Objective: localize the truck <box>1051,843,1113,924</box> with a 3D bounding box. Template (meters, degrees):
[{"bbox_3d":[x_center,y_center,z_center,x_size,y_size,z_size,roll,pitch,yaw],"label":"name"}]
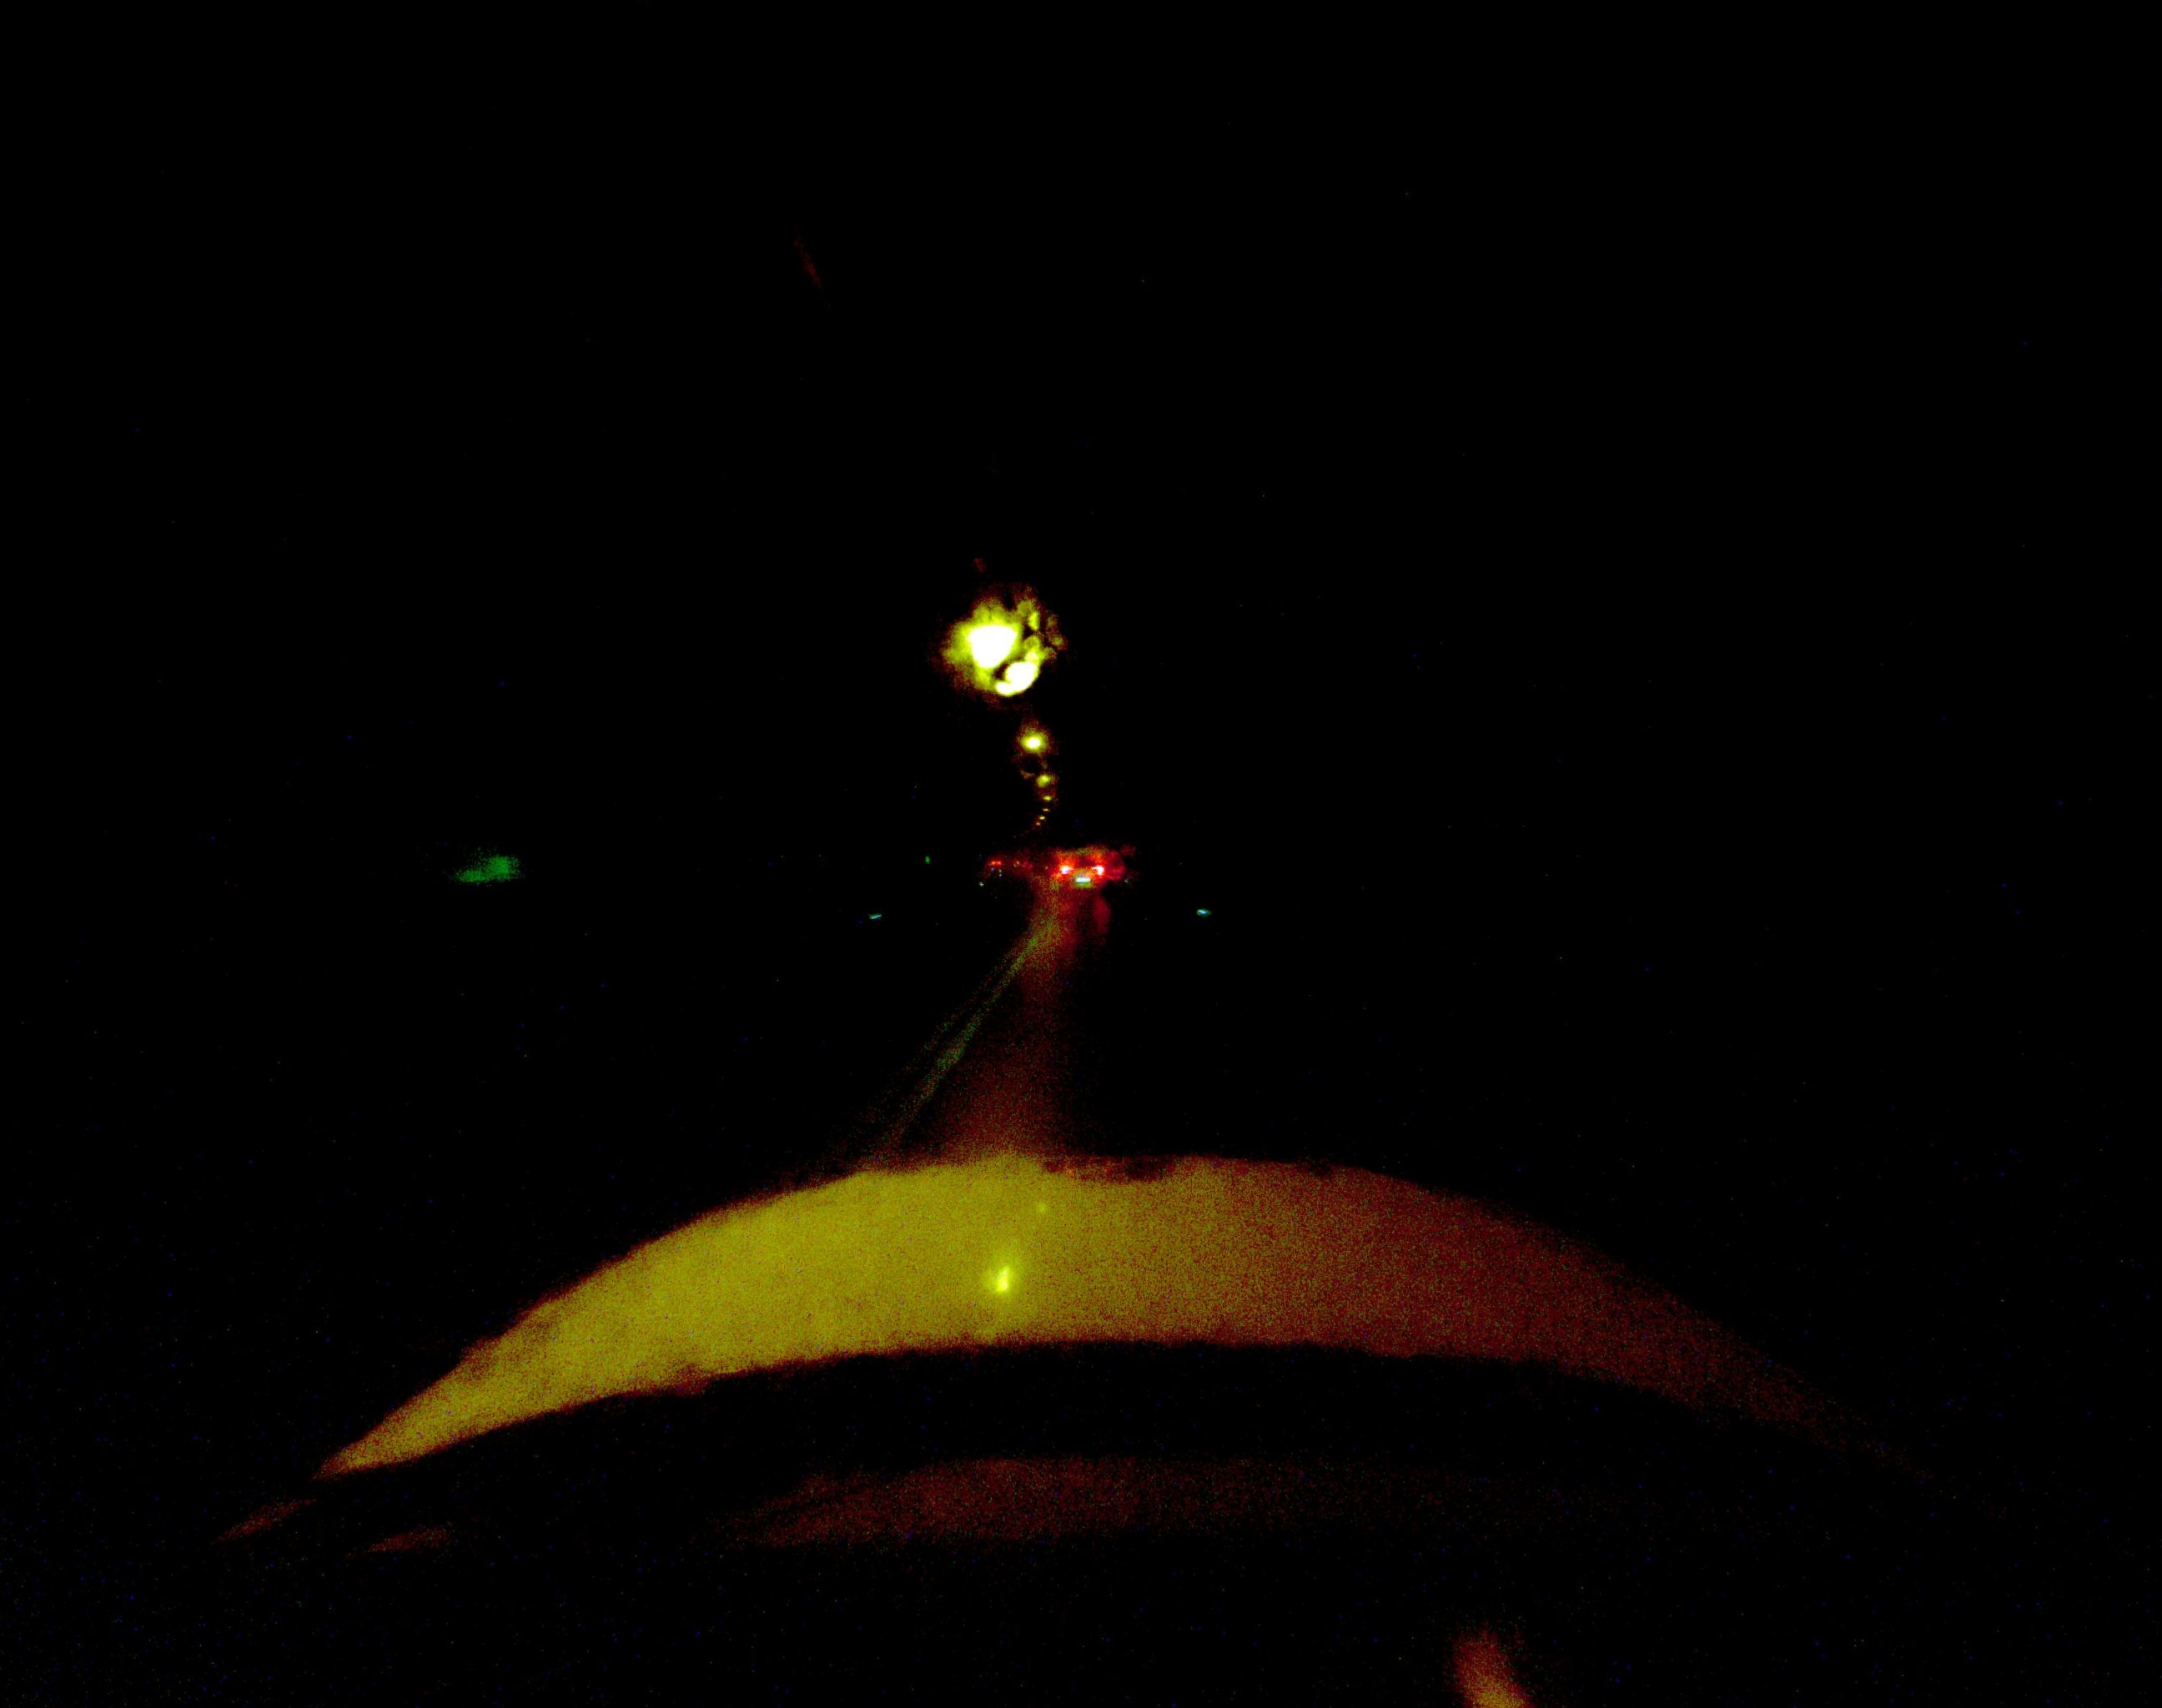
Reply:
[{"bbox_3d":[0.058,1.115,34.060,2.254,3.011,7.414,1,0,0],"label":"truck"}]
